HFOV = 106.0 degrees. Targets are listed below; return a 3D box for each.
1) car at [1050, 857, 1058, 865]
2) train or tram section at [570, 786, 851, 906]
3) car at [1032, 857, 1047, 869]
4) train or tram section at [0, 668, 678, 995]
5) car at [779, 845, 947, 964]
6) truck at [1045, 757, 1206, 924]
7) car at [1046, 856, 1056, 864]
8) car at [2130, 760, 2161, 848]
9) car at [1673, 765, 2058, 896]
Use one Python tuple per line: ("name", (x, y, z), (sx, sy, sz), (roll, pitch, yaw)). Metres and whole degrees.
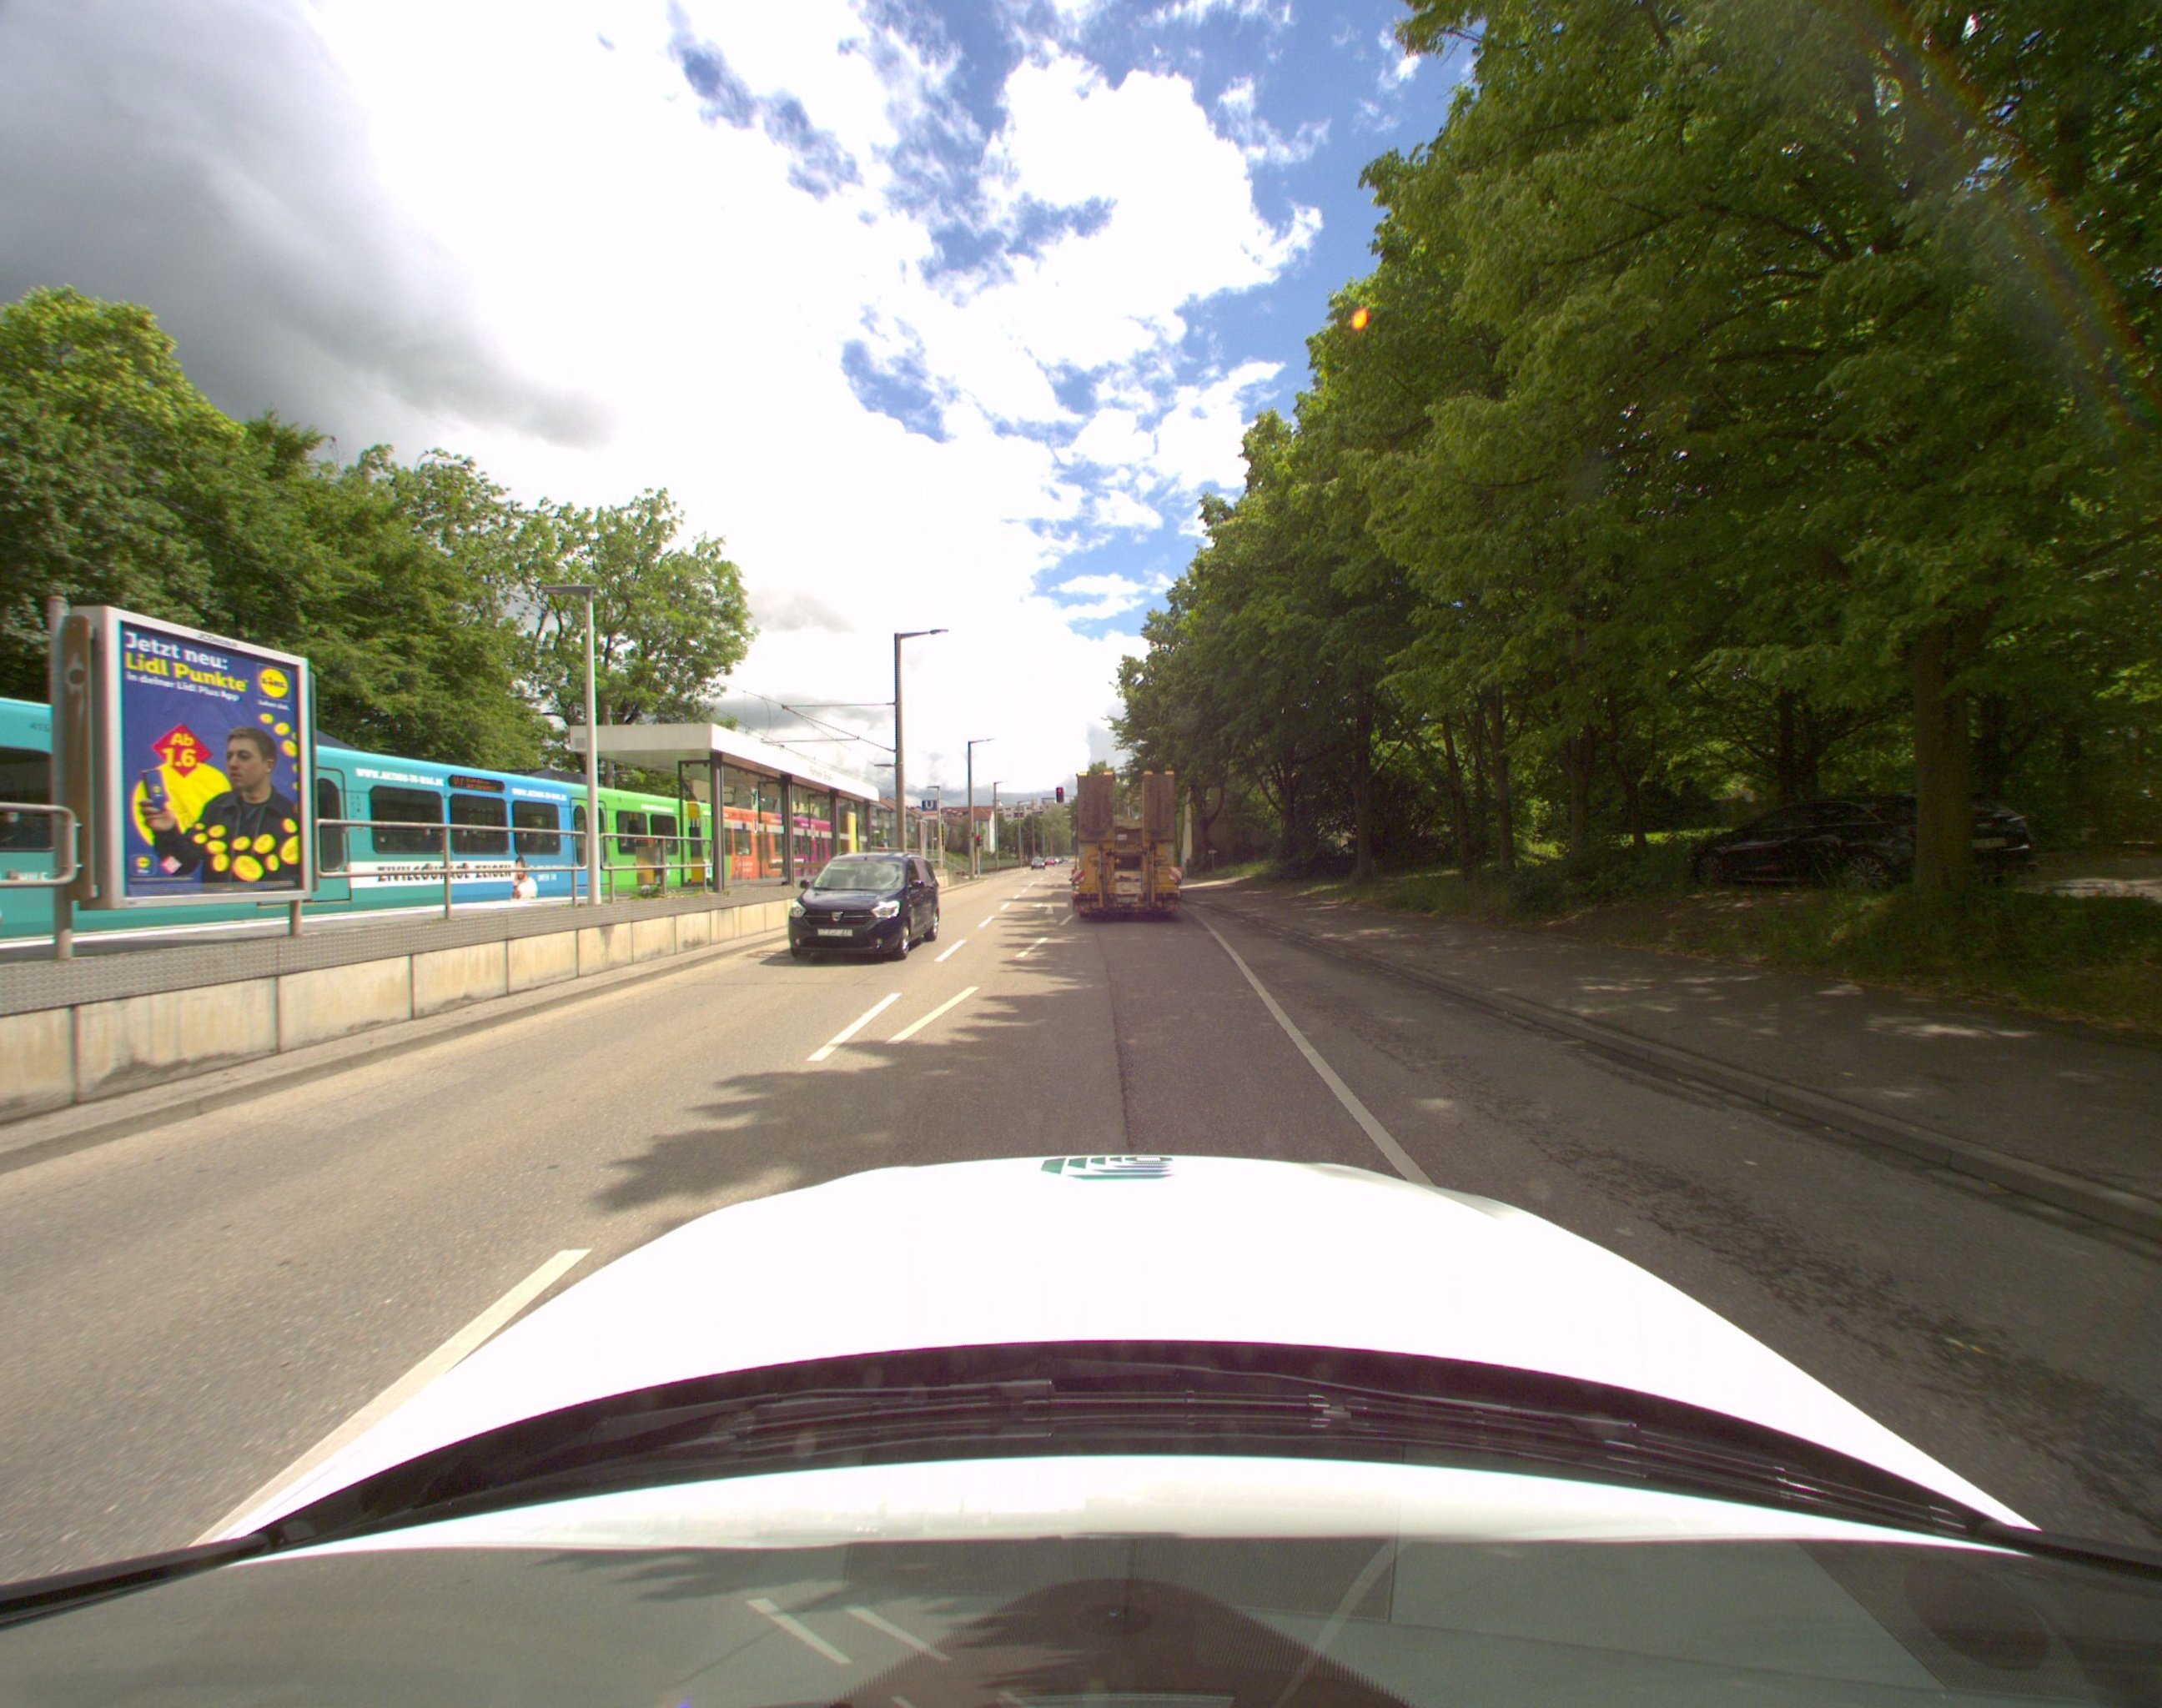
("car", (-5.289, 1.349, 160.160), (1.662, 1.453, 3.677), (0, -1, -1))
("train or tram section", (-13.463, -0.225, 33.235), (3.099, 3.465, 19.078), (0, 0, -1))
("car", (-5.059, 1.116, 99.686), (1.662, 1.453, 3.677), (0, -1, -1))
("train or tram section", (-13.103, -0.237, 14.096), (3.099, 3.465, 19.187), (0, 0, -1))
("car", (-3.457, 0.718, 13.791), (1.715, 1.682, 4.385), (0, 0, -1))
("truck", (0.737, -0.322, 25.499), (3.395, 3.732, 13.720), (-2, 0, -3))
("car", (-5.348, 1.052, 143.877), (1.662, 1.453, 3.677), (0, -1, -1))
("car", (19.431, -0.933, 11.880), (1.986, 1.507, 4.882), (-5, 0, 2))
("car", (11.342, -0.288, 12.281), (1.710, 1.507, 4.159), (-5, 0, 0))
